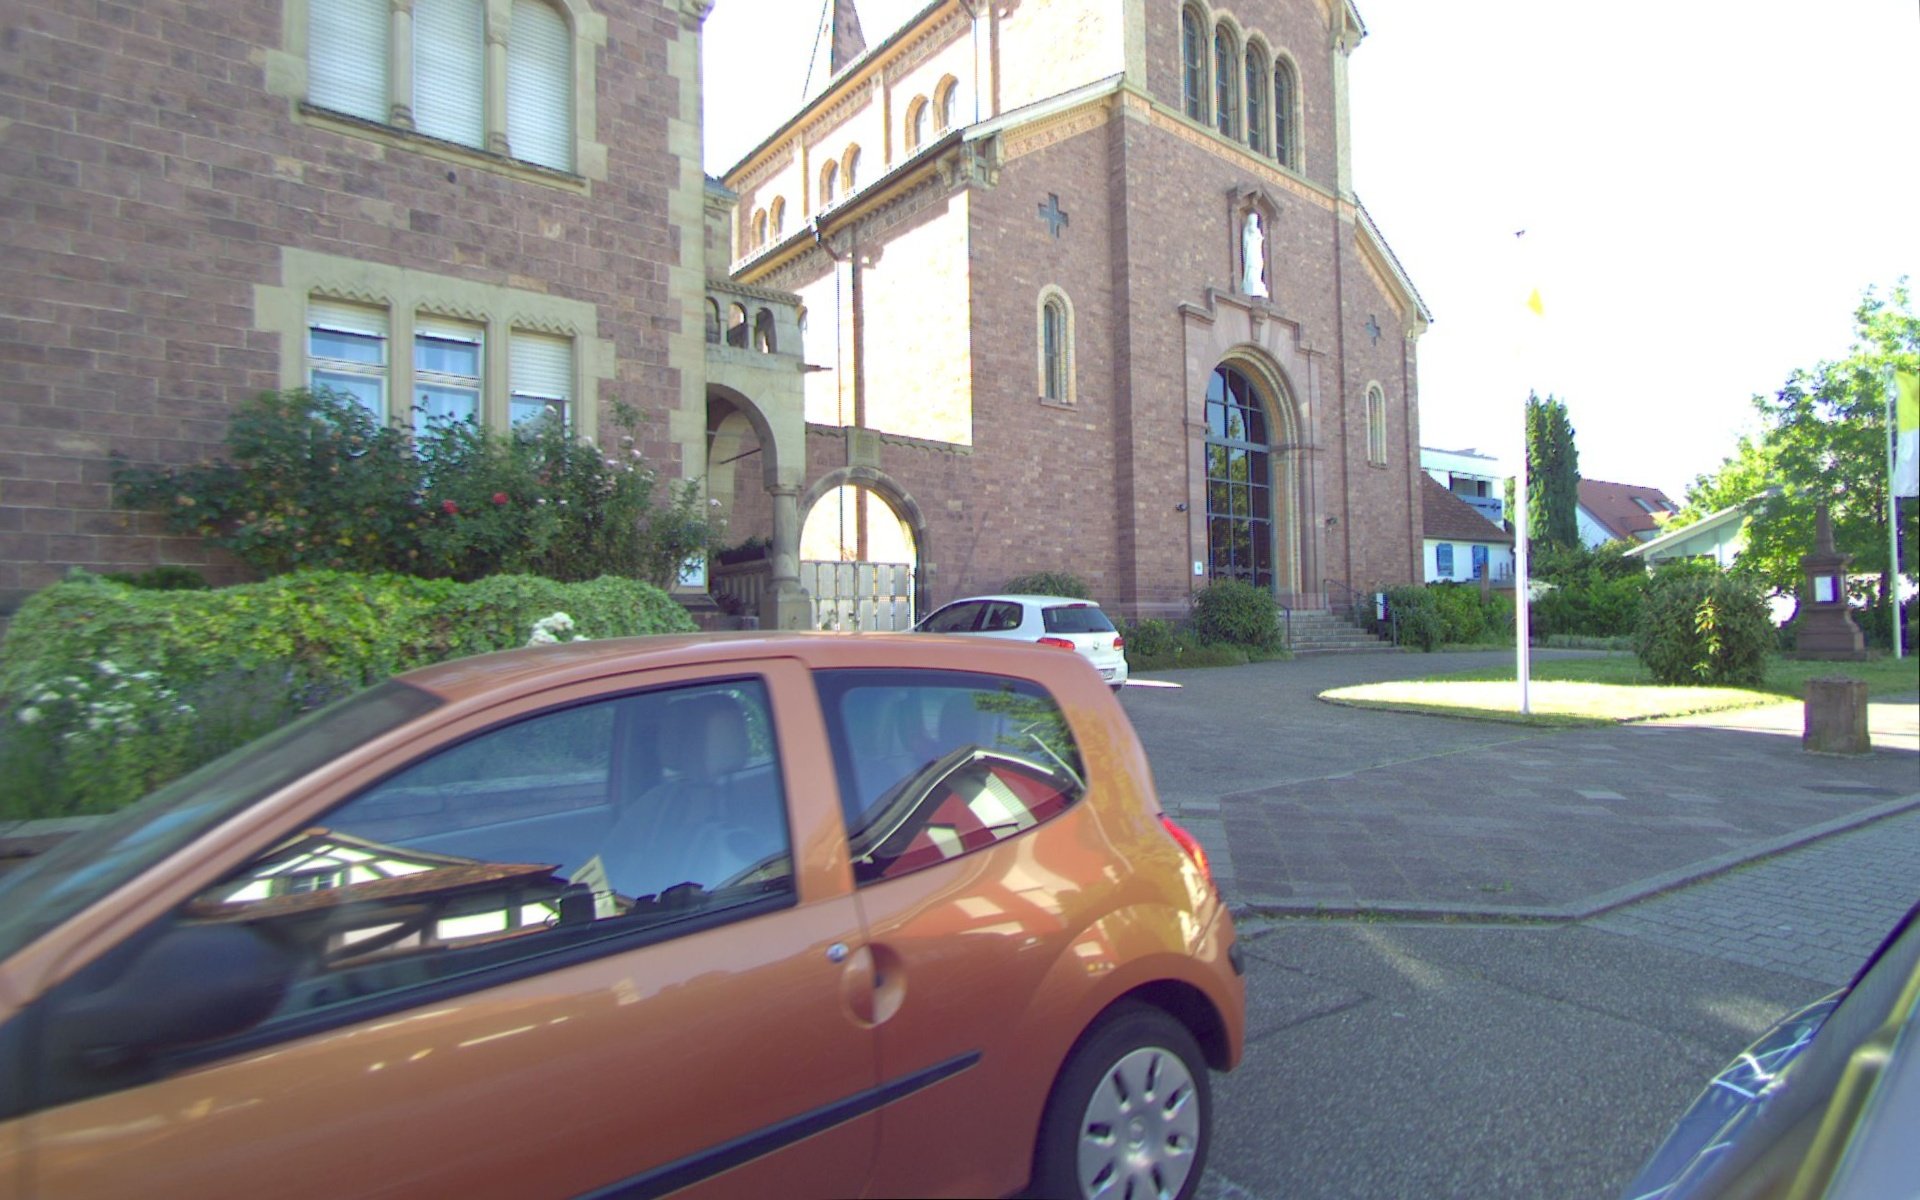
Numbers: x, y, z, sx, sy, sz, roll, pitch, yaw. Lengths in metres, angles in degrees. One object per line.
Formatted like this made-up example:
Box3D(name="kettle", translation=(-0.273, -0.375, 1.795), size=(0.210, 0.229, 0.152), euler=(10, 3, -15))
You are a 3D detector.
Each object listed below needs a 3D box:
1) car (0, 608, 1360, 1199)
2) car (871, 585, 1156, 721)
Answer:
Box3D(name="car", translation=(-0.994, 0.796, 2.341), size=(3.858, 1.498, 1.653), euler=(0, -3, -34))
Box3D(name="car", translation=(0.621, 0.601, 14.150), size=(1.871, 1.514, 3.907), euler=(-2, 3, -39))
